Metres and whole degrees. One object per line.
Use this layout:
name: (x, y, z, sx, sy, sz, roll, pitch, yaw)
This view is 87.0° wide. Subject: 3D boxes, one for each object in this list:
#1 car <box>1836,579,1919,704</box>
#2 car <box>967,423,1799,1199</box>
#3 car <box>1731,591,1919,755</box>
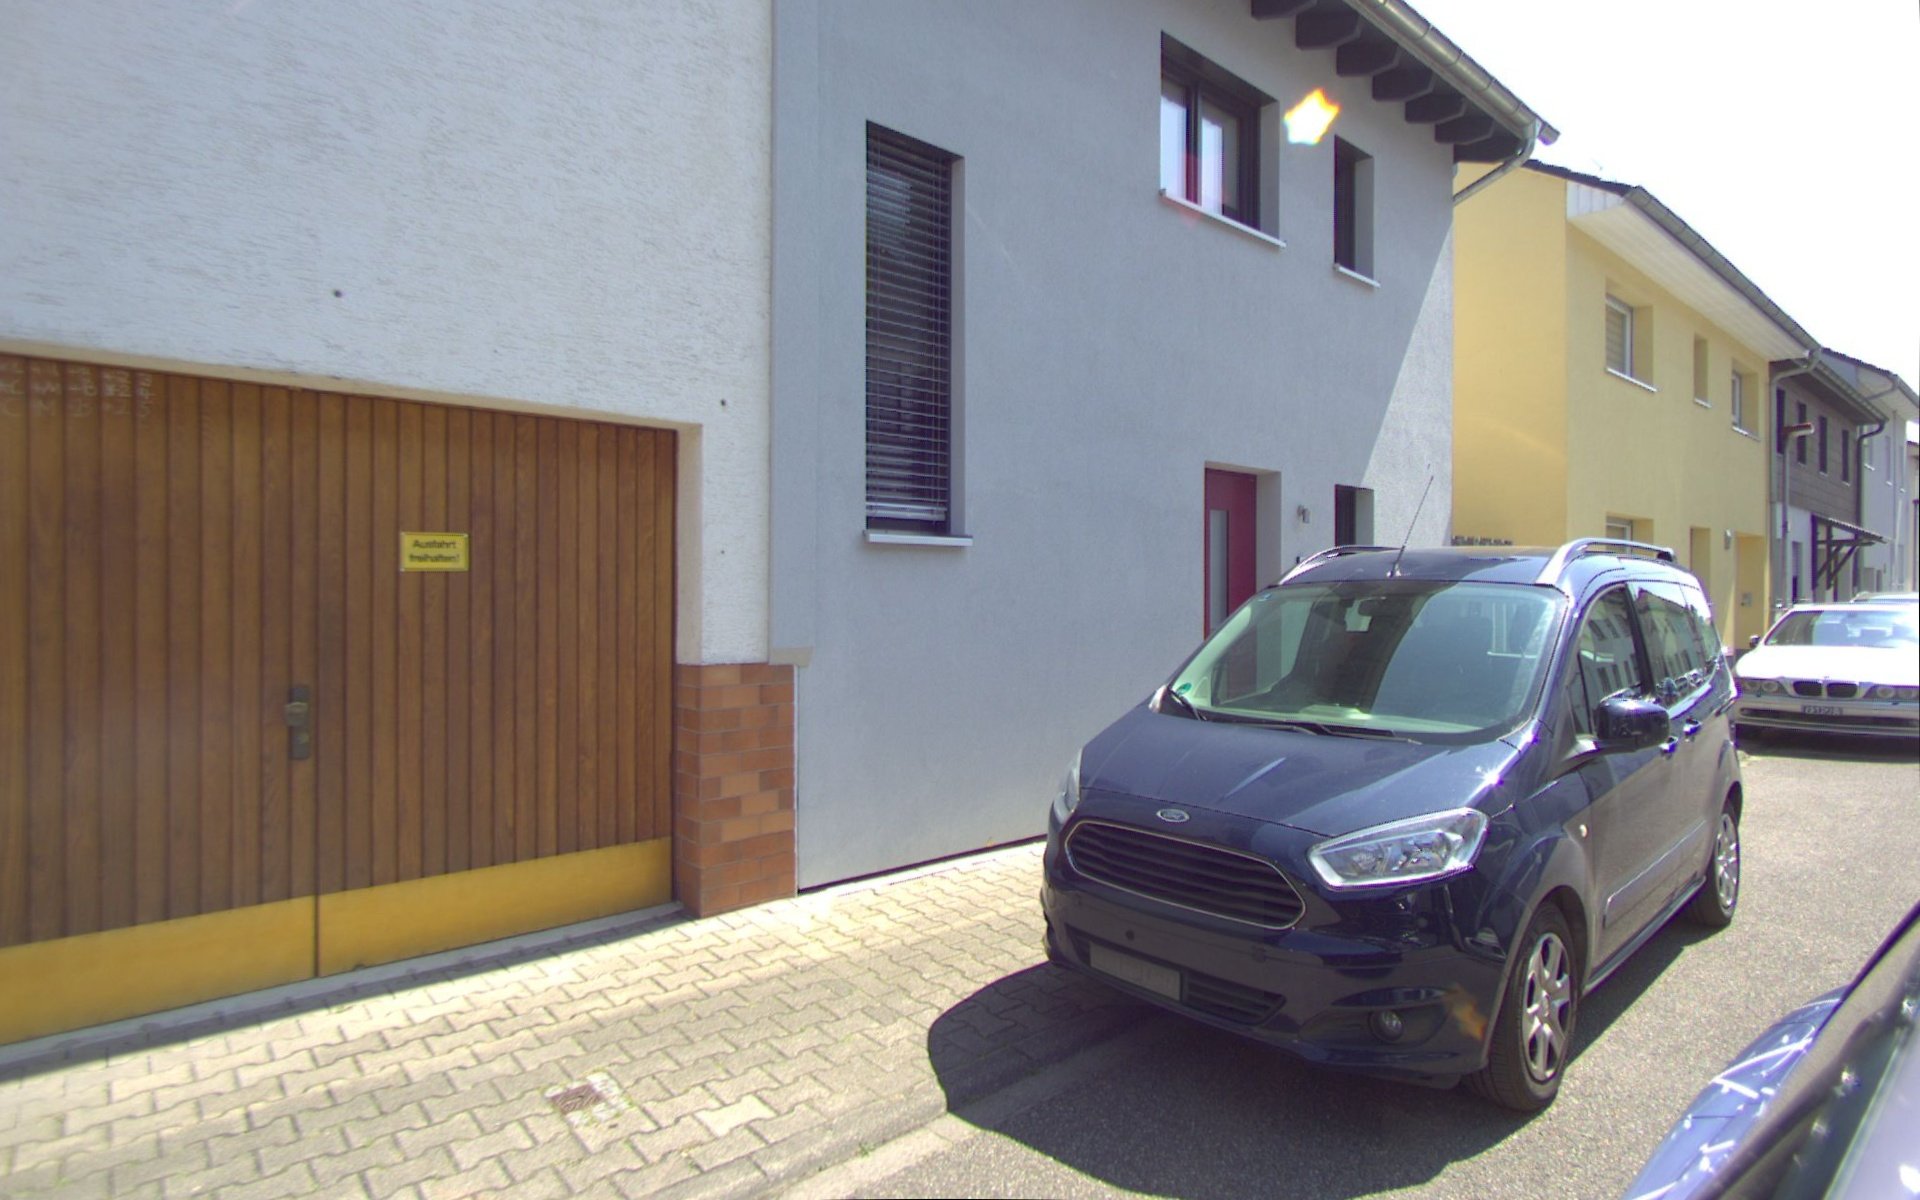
car: (13.807, 0.511, 14.365, 3.896, 1.604, 1.681, -1, 0, -43)
car: (2.110, 0.568, 4.345, 4.127, 1.801, 1.698, 2, -3, -42)
car: (9.878, 0.642, 10.931, 4.174, 1.432, 1.665, -1, 2, -41)
